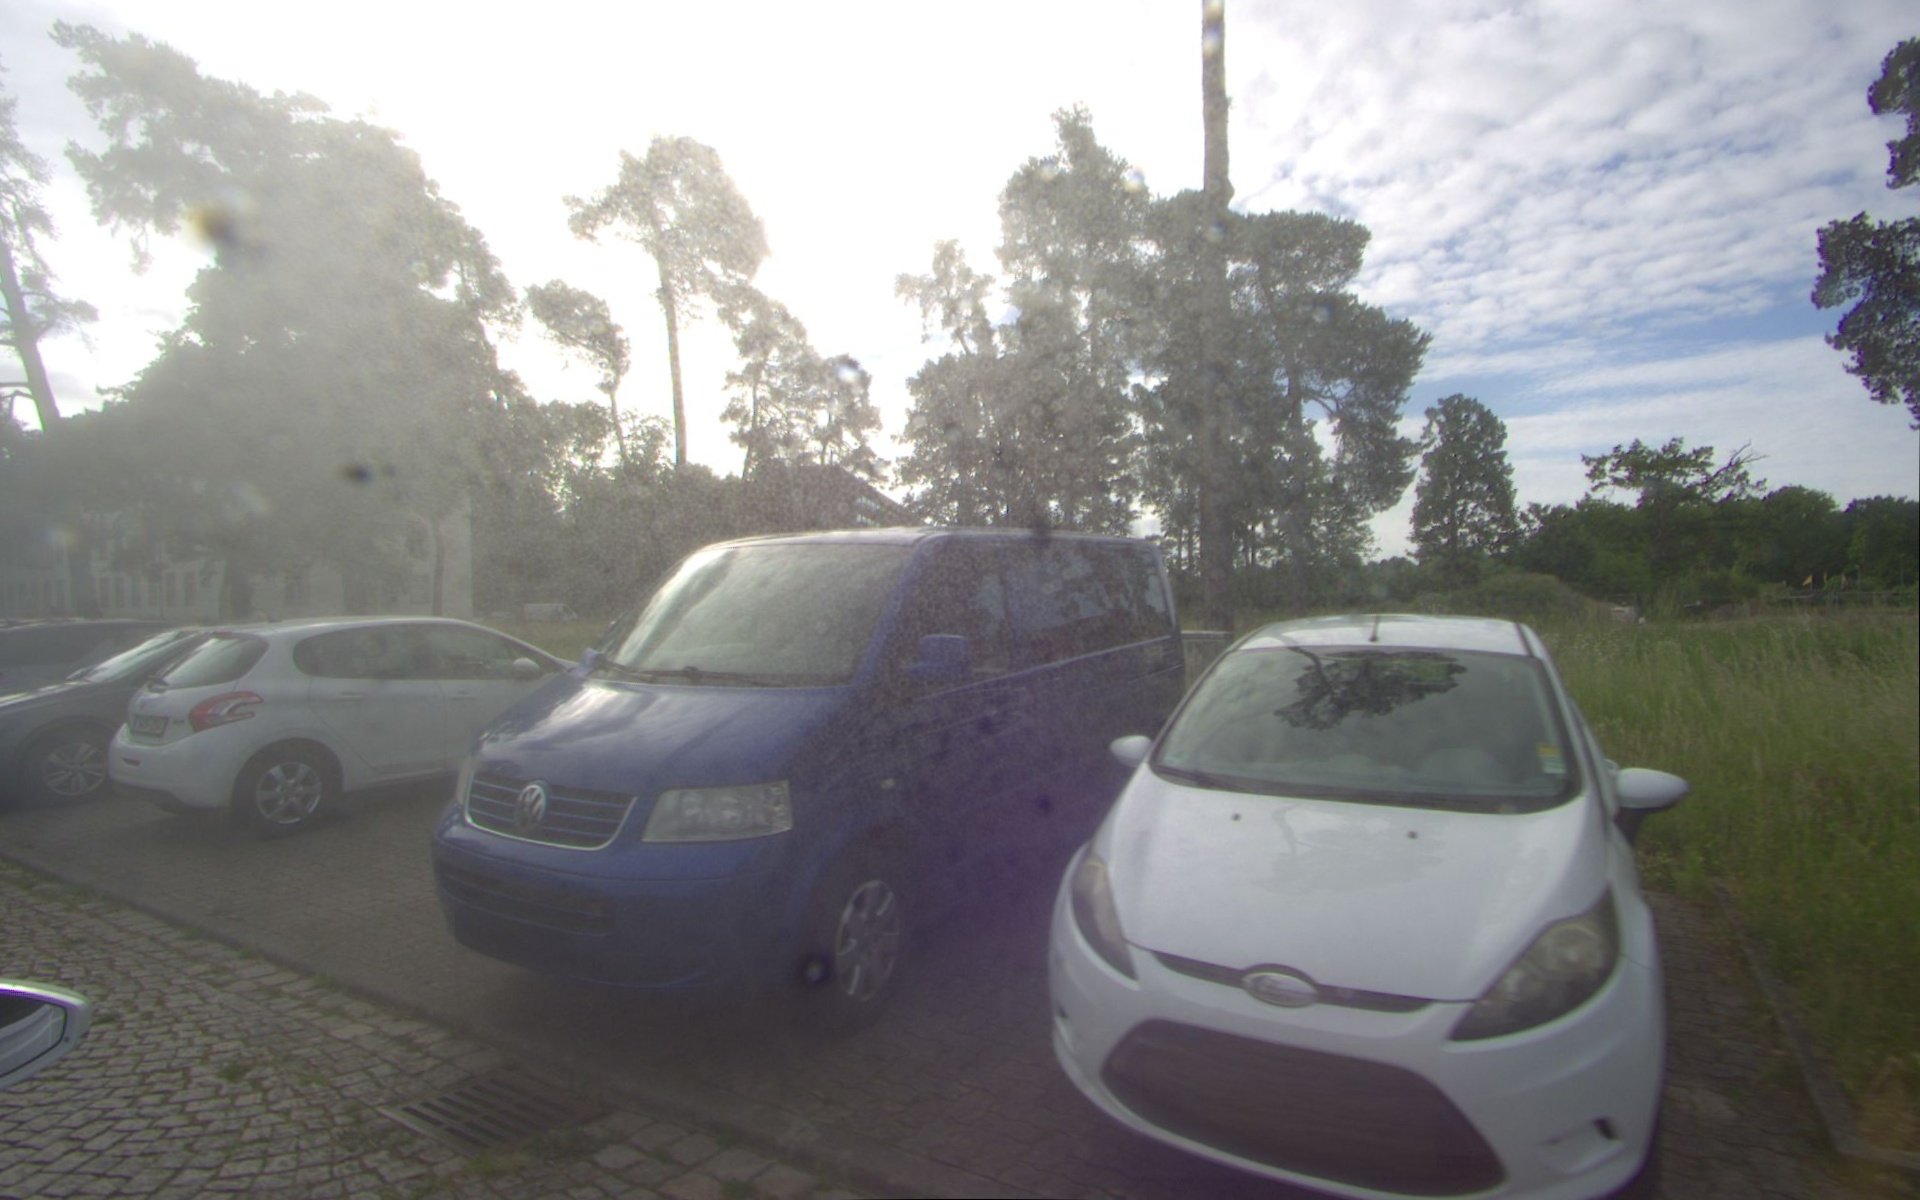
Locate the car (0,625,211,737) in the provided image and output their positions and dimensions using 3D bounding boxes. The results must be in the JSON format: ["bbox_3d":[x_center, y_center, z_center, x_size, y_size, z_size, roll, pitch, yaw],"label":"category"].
[{"bbox_3d":[-11.819,0.996,12.534,1.605,1.239,3.578,0,1,33],"label":"car"}]

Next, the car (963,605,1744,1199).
[{"bbox_3d":[1.736,0.804,4.125,1.695,1.498,4.092,0,1,29],"label":"car"}]

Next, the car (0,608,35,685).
[{"bbox_3d":[-19.896,0.924,18.257,1.607,1.483,4.132,0,1,27],"label":"car"}]

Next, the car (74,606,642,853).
[{"bbox_3d":[-4.691,0.830,8.324,1.740,1.498,3.646,0,1,32],"label":"car"}]

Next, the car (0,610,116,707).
[{"bbox_3d":[-15.689,0.919,15.091,1.726,1.456,4.184,0,1,25],"label":"car"}]

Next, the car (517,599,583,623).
[{"bbox_3d":[-36.921,0.998,90.273,2.076,2.045,5.291,0,-2,33],"label":"car"}]

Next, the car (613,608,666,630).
[{"bbox_3d":[-27.374,1.613,85.605,1.874,1.827,4.124,-1,-2,34],"label":"car"}]

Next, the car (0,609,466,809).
[{"bbox_3d":[-7.234,0.865,9.655,1.740,1.466,4.121,0,1,32],"label":"car"}]

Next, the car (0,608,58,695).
[{"bbox_3d":[-17.983,0.928,16.566,1.680,1.499,4.231,0,1,21],"label":"car"}]

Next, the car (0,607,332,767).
[{"bbox_3d":[-9.463,0.870,11.424,1.718,1.507,3.498,0,1,31],"label":"car"}]

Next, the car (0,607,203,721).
[{"bbox_3d":[-13.507,0.880,14.194,1.659,1.496,4.098,0,1,30],"label":"car"}]

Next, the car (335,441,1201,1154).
[{"bbox_3d":[-0.340,0.546,5.409,1.937,2.031,4.788,0,1,30],"label":"car"}]
